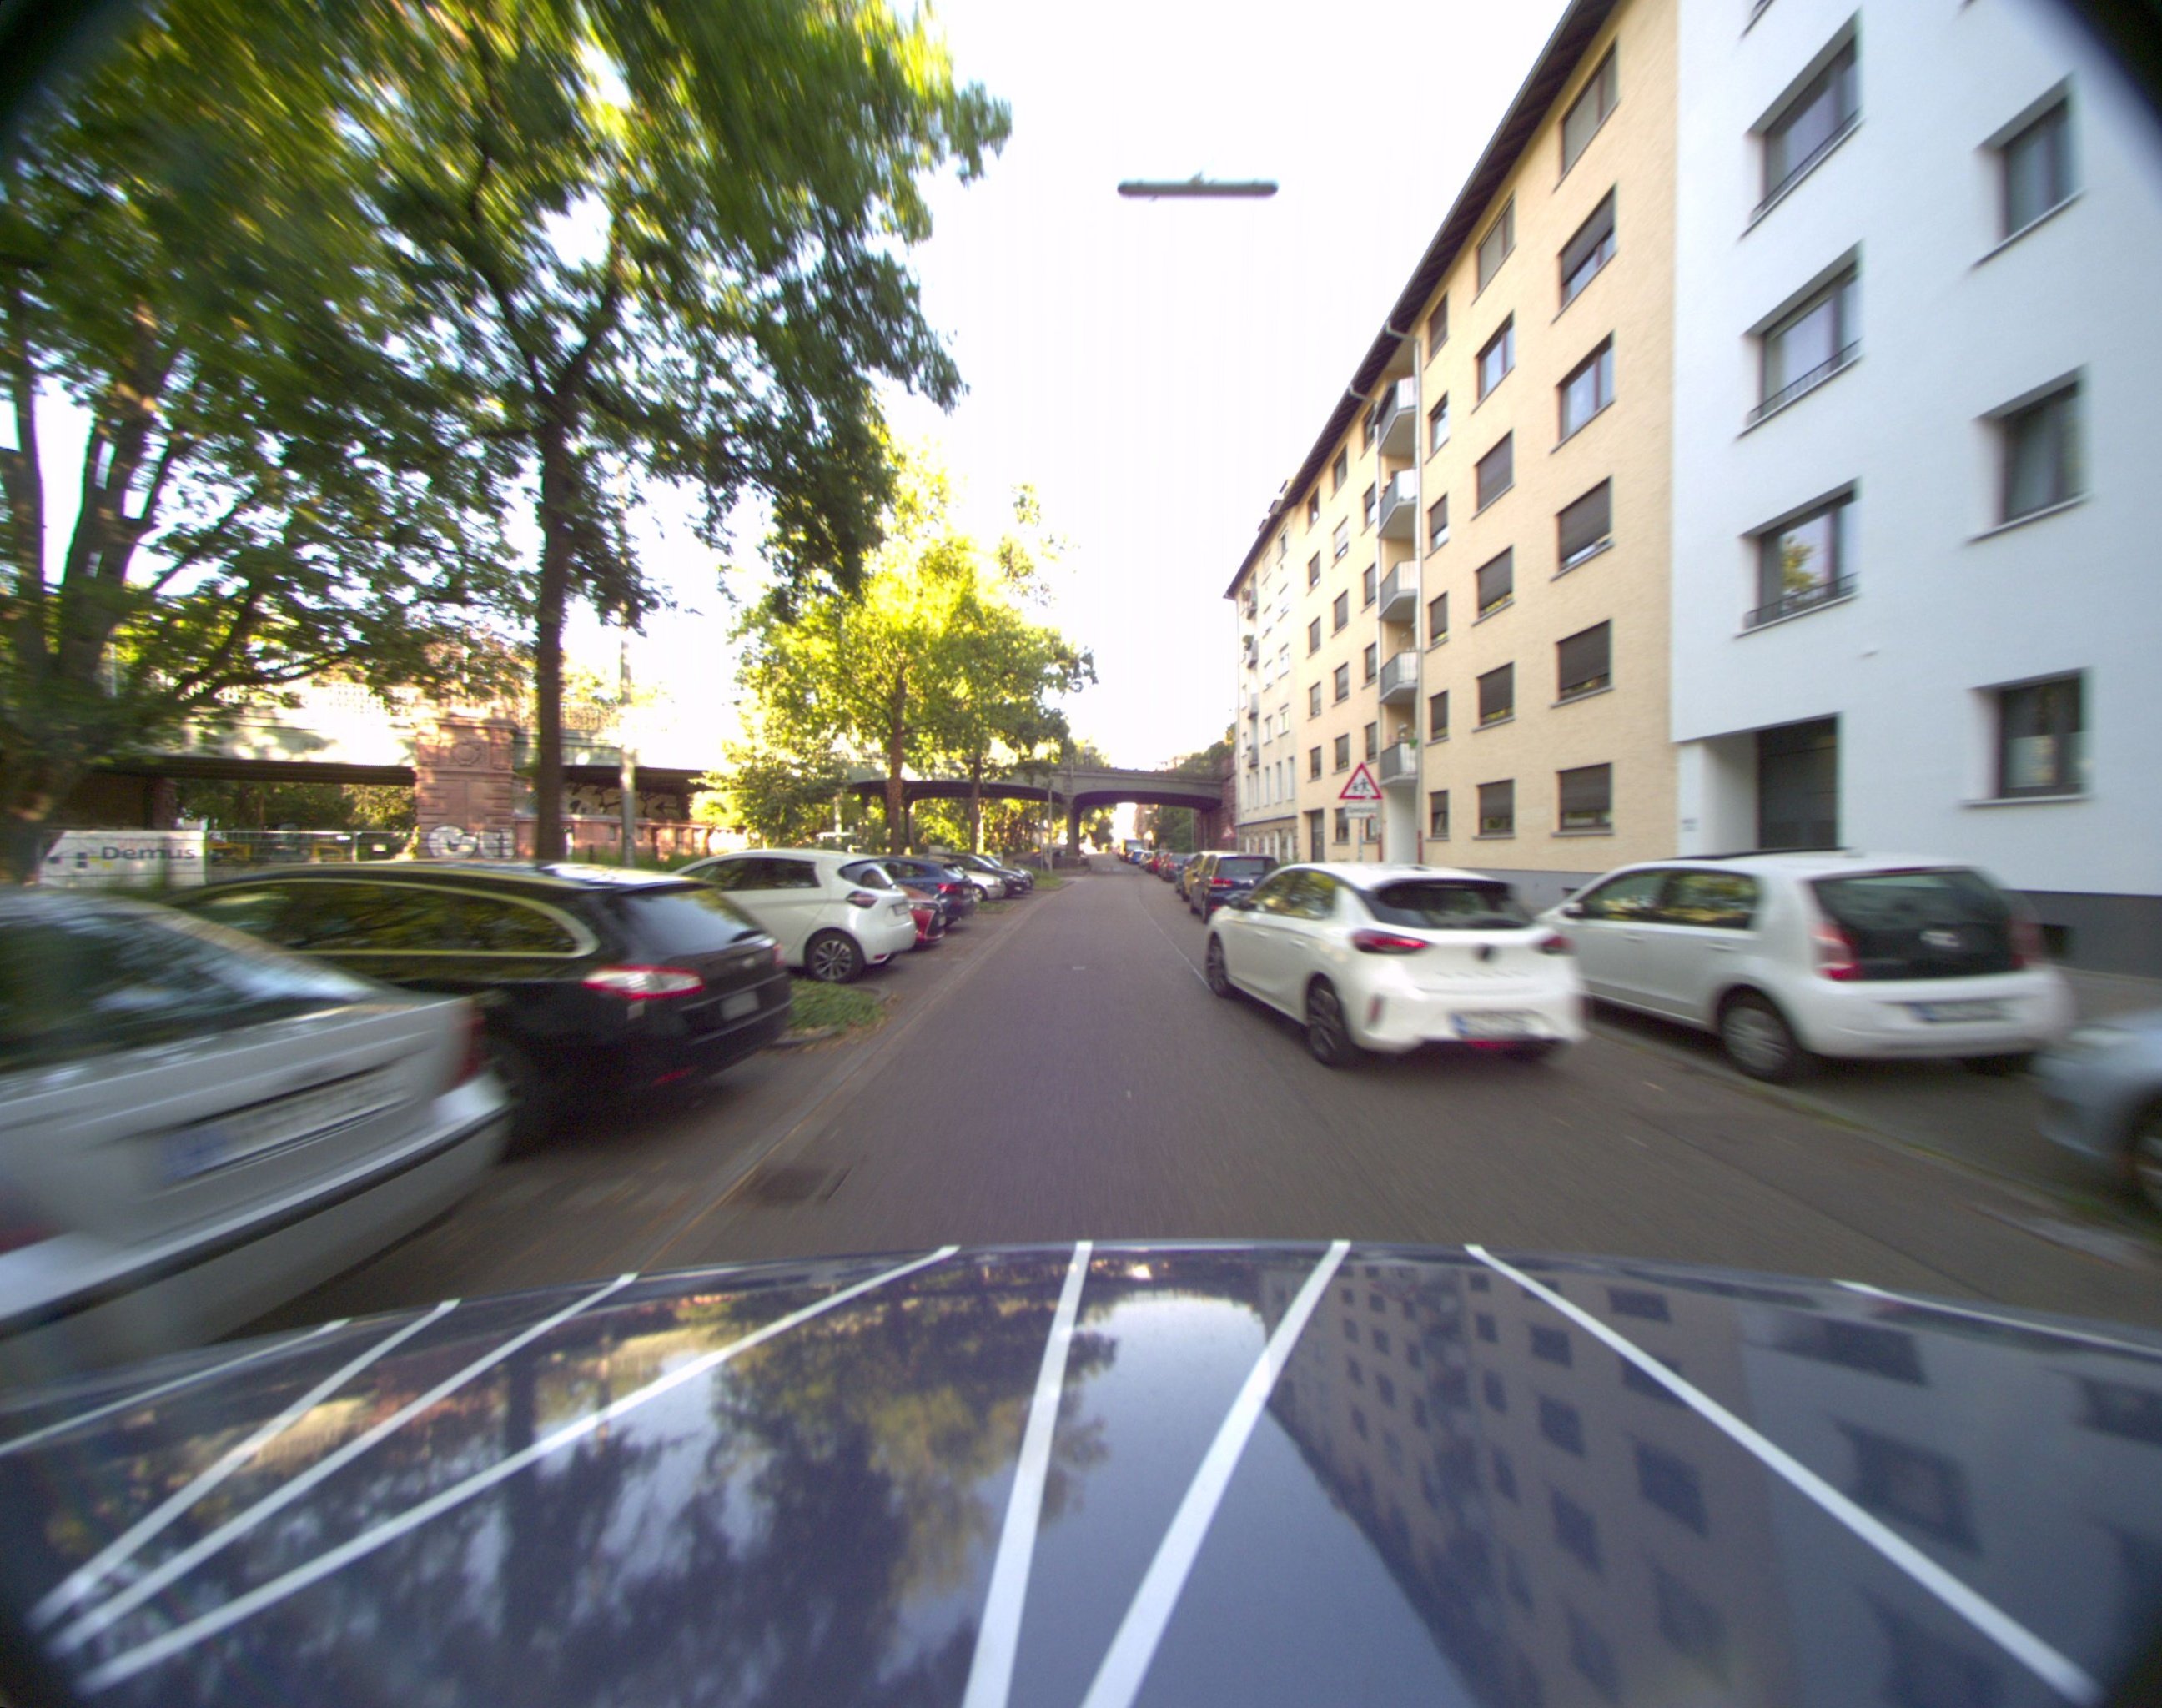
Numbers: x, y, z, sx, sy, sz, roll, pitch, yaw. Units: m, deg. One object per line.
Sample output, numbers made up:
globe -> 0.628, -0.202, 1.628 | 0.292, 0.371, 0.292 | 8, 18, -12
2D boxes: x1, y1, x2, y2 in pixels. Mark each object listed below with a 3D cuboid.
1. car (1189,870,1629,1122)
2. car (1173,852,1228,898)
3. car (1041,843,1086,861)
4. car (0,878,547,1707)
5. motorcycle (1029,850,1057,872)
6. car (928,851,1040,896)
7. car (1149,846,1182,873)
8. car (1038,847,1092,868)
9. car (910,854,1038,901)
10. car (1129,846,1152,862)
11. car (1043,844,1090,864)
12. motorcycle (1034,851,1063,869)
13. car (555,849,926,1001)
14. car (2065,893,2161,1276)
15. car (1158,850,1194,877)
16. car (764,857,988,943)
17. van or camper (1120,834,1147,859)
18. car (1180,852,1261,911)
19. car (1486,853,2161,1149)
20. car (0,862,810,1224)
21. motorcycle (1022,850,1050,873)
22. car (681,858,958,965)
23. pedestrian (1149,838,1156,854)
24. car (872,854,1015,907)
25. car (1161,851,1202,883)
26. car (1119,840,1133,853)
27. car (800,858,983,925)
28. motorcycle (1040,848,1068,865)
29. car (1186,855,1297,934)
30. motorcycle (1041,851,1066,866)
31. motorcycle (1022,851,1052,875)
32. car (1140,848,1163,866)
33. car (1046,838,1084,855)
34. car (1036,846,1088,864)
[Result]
car -> 2.283, 0.909, 6.556 | 1.673, 1.422, 3.998 | 2, -1, -7
car -> 4.213, 0.691, 27.190 | 1.570, 1.509, 3.782 | 0, 1, 3
car -> -1.797, -0.188, 77.752 | 4.544, 1.686, 1.907 | -2, 2, 0
car -> -4.104, 0.895, 1.912 | 4.409, 1.569, 1.664 | 0, 2, 4
motorcycle -> -2.463, 0.437, 48.969 | 1.601, 1.400, 0.713 | -1, 3, 21
car -> -3.367, 0.675, 26.840 | 3.792, 1.464, 1.634 | 0, 2, -2
car -> 5.661, 0.347, 51.436 | 1.721, 1.698, 4.321 | 1, 1, 0
car -> -1.296, 0.265, 62.851 | 4.385, 1.569, 1.674 | -2, 2, 0
car -> -3.378, 0.732, 24.533 | 3.791, 1.394, 1.827 | 0, 2, 3
car -> 5.980, -0.027, 76.738 | 1.749, 1.458, 4.373 | -2, 2, -2
car -> -1.385, -0.039, 72.678 | 4.386, 1.699, 1.906 | -2, 2, -3
motorcycle -> -2.306, 0.416, 53.262 | 1.839, 1.126, 0.849 | -2, 3, -22
car -> -4.005, 0.791, 9.373 | 3.791, 1.637, 1.664 | 0, 2, 2
car -> 4.942, 0.887, 1.046 | 1.672, 1.463, 4.284 | -3, 1, 2
car -> 5.430, 0.522, 43.901 | 1.693, 1.433, 4.000 | 0, 1, 2
car -> -3.835, 0.828, 14.562 | 3.789, 1.439, 1.664 | 1, 2, 7
van or camper -> 5.727, -0.865, 83.121 | 2.242, 2.509, 6.417 | -2, 2, -2
car -> 3.899, 0.711, 21.845 | 1.707, 1.516, 3.773 | 0, 1, 1
car -> 5.175, 0.805, 6.144 | 1.672, 1.499, 4.000 | -3, 1, 1
car -> -4.130, 0.888, 4.566 | 4.408, 1.569, 1.664 | 1, 2, 6
motorcycle -> -2.843, 0.480, 48.069 | 1.601, 1.400, 0.713 | -1, 3, 21
car -> -4.022, 0.851, 12.080 | 3.790, 1.465, 1.664 | 0, 2, 4
pedestrian -> 8.532, -0.929, 90.751 | 0.639, 1.904, 1.046 | -2, 3, -5
car -> -3.897, 0.744, 21.920 | 3.791, 1.394, 1.664 | 0, 2, 1
car -> 5.066, 0.628, 38.589 | 1.640, 1.458, 4.000 | 2, 1, 2
car -> 5.798, -0.925, 97.355 | 1.703, 1.489, 4.549 | 1, 2, 3
car -> -4.260, 0.823, 17.547 | 3.792, 1.394, 1.765 | 0, 2, -2
motorcycle -> -2.061, 0.167, 58.991 | 1.938, 1.231, 0.902 | -3, 3, -24
car -> 3.380, 0.778, 16.698 | 1.743, 1.471, 4.000 | 1, 1, 3
motorcycle -> -2.078, 0.315, 57.304 | 1.729, 1.024, 0.810 | -3, 3, -33
motorcycle -> -2.679, 0.547, 46.095 | 1.601, 1.400, 0.713 | -1, 3, 21
car -> 6.187, 0.249, 67.266 | 1.599, 1.538, 3.913 | 1, 1, -1
car -> -1.940, -0.983, 94.996 | 4.683, 1.914, 1.871 | 2, 2, 0
car -> -1.693, 0.077, 69.922 | 4.596, 1.597, 1.734 | 0, 2, 5
